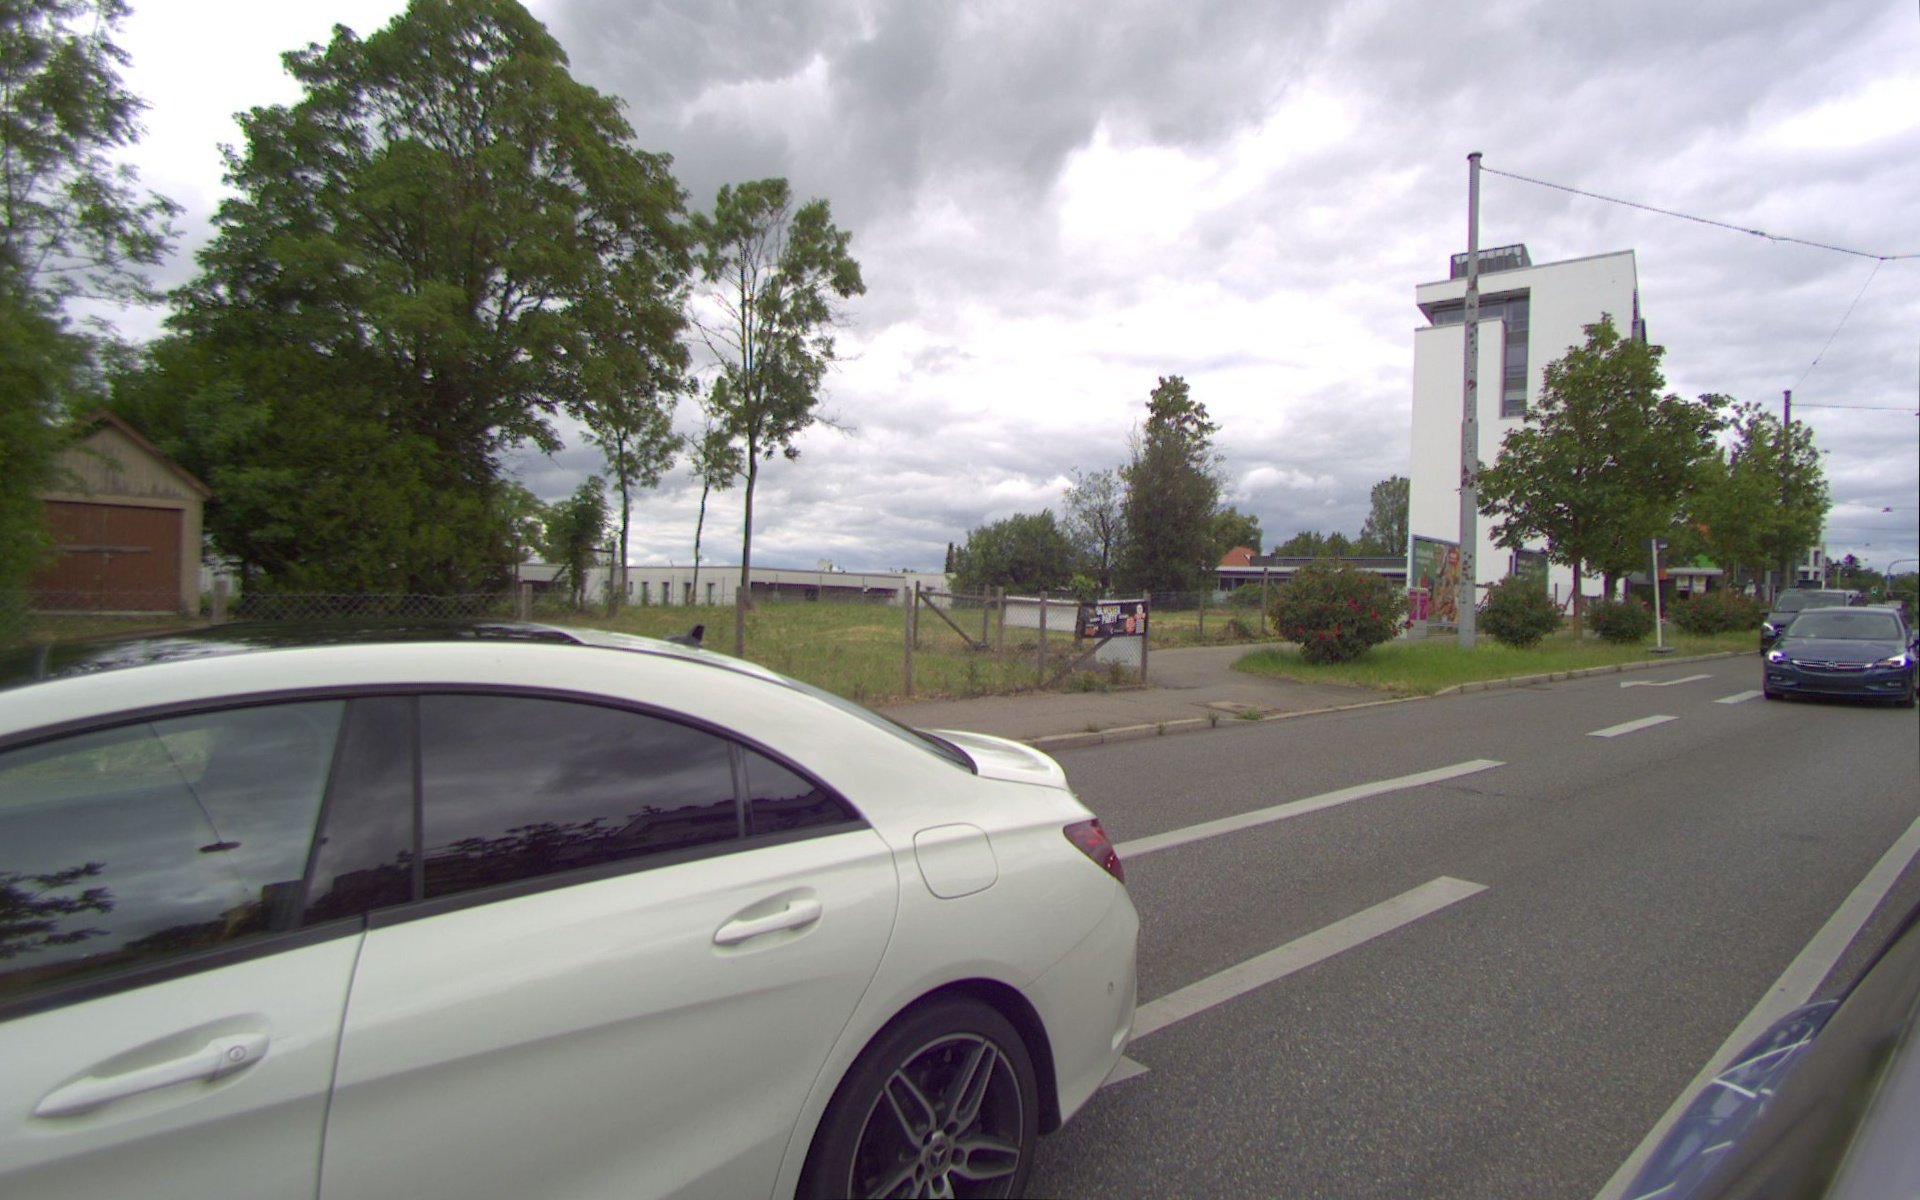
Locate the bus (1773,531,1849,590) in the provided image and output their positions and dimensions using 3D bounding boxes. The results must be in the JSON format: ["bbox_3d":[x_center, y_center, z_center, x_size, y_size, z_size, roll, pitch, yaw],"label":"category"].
[{"bbox_3d":[53.178,-2.351,63.475,2.975,3.282,9.734,1,1,37],"label":"bus"}]

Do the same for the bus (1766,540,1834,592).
[{"bbox_3d":[58.739,-2.276,70.991,3.028,3.276,9.214,2,1,36],"label":"bus"}]

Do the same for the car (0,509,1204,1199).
[{"bbox_3d":[-1.687,0.641,1.798,4.693,1.524,1.870,0,1,-43],"label":"car"}]

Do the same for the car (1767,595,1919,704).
[{"bbox_3d":[14.366,0.689,16.053,4.293,1.501,1.733,0,0,-41],"label":"car"}]

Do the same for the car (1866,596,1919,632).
[{"bbox_3d":[41.649,0.603,45.150,1.729,1.501,4.305,0,0,40],"label":"car"}]

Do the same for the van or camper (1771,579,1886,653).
[{"bbox_3d":[24.303,0.413,28.244,4.764,1.902,1.807,0,0,-41],"label":"van or camper"}]
